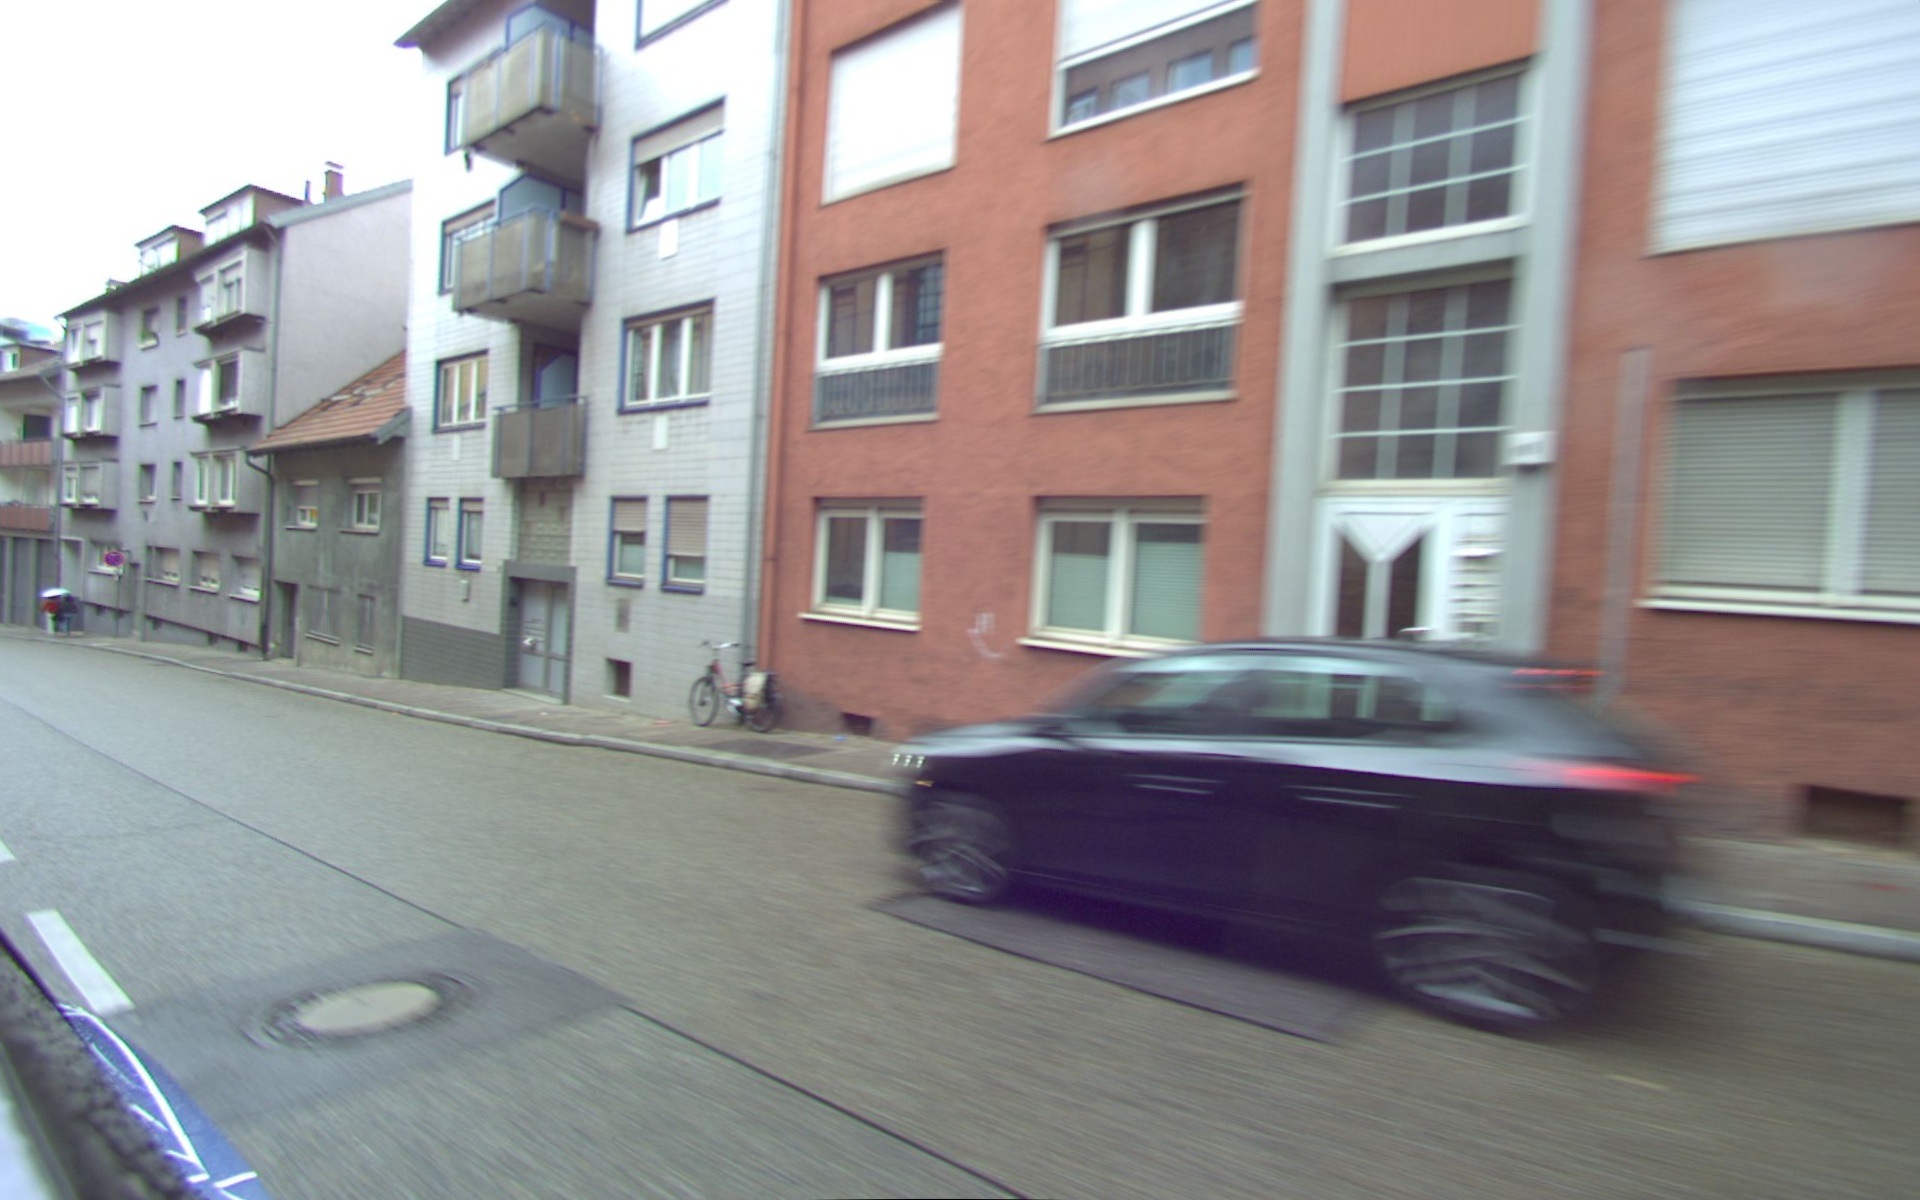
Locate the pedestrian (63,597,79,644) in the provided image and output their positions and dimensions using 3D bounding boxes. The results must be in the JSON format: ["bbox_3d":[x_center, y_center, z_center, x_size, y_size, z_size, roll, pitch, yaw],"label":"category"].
[{"bbox_3d":[-34.458,0.791,39.227,0.498,1.793,0.351,0,0,32],"label":"pedestrian"}]

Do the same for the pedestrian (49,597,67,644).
[{"bbox_3d":[-34.662,0.794,38.905,0.498,1.793,0.377,0,0,32],"label":"pedestrian"}]

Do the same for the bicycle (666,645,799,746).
[{"bbox_3d":[-2.940,1.177,12.931,2.039,1.125,0.565,-1,1,42],"label":"bicycle"}]

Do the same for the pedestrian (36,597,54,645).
[{"bbox_3d":[-34.868,0.797,38.576,0.498,1.793,0.382,0,0,32],"label":"pedestrian"}]

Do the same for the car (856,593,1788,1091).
[{"bbox_3d":[1.578,0.800,5.138,3.999,1.490,1.972,-1,-4,42],"label":"car"}]
